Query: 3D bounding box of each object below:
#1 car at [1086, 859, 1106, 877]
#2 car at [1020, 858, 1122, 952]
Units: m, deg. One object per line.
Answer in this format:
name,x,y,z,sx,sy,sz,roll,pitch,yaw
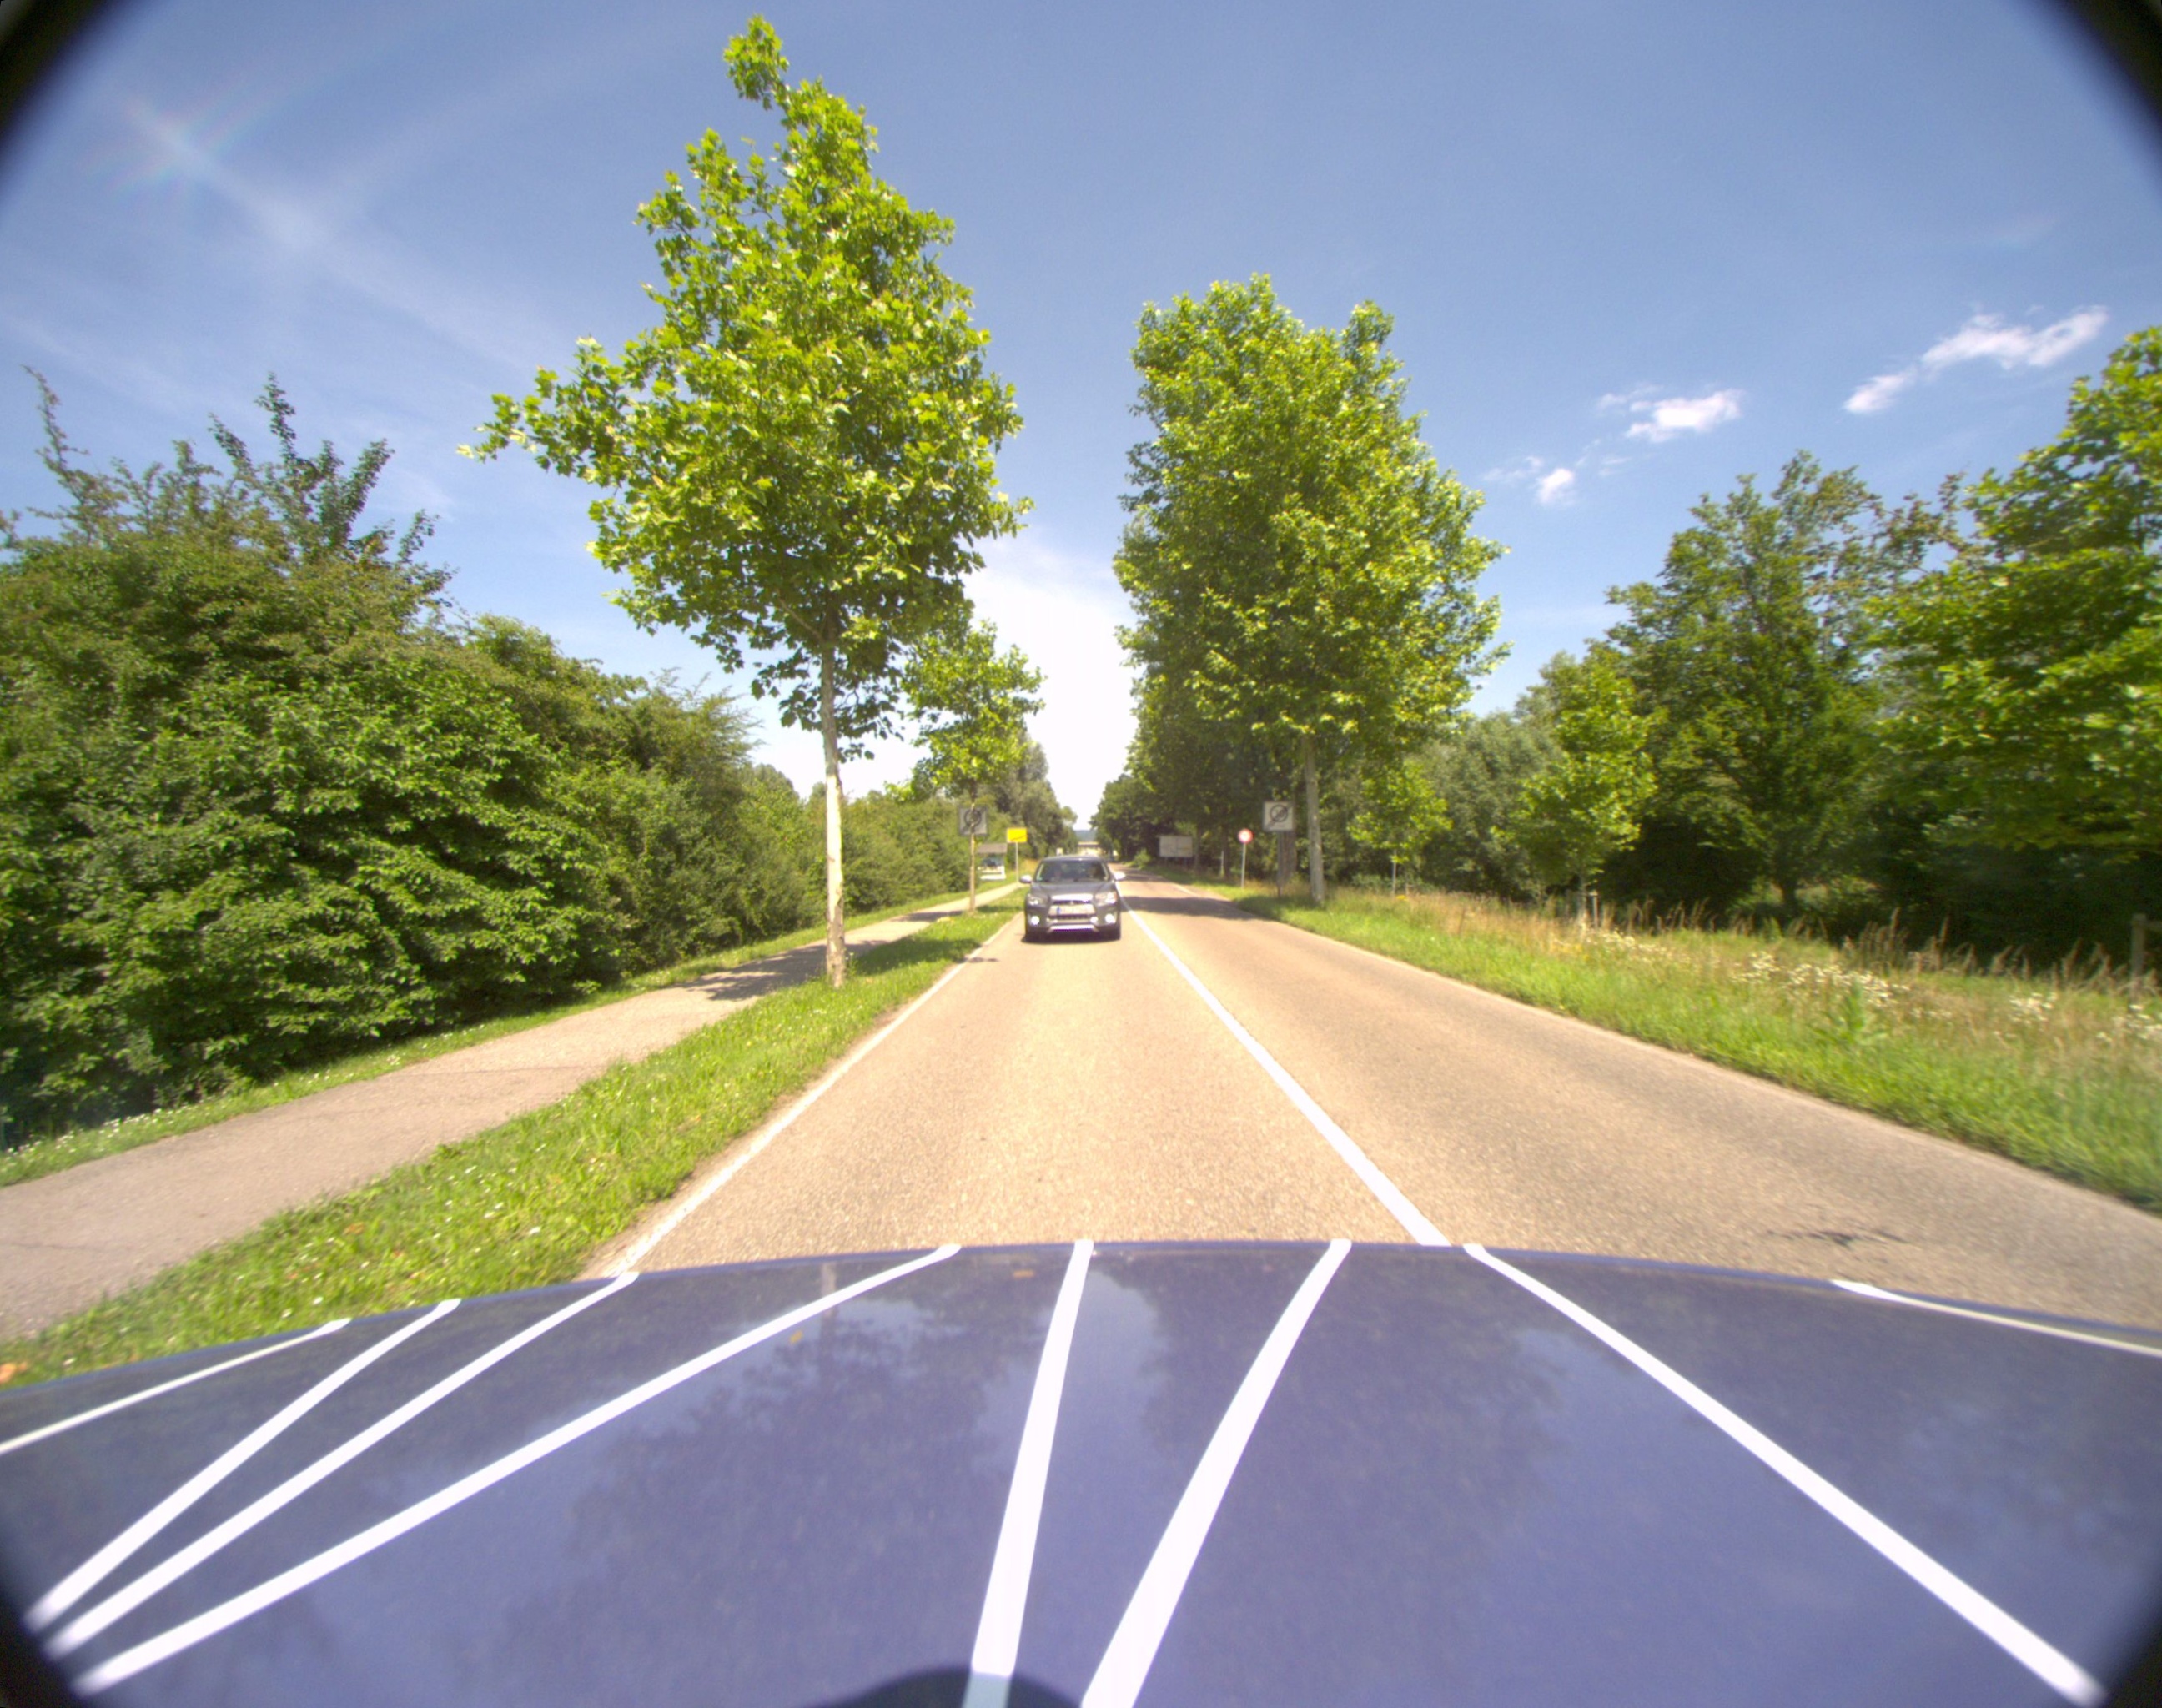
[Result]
car,1.078,0.996,56.008,1.429,1.270,3.159,-1,0,1
car,-0.163,0.898,15.498,1.750,1.525,4.524,-1,1,0
